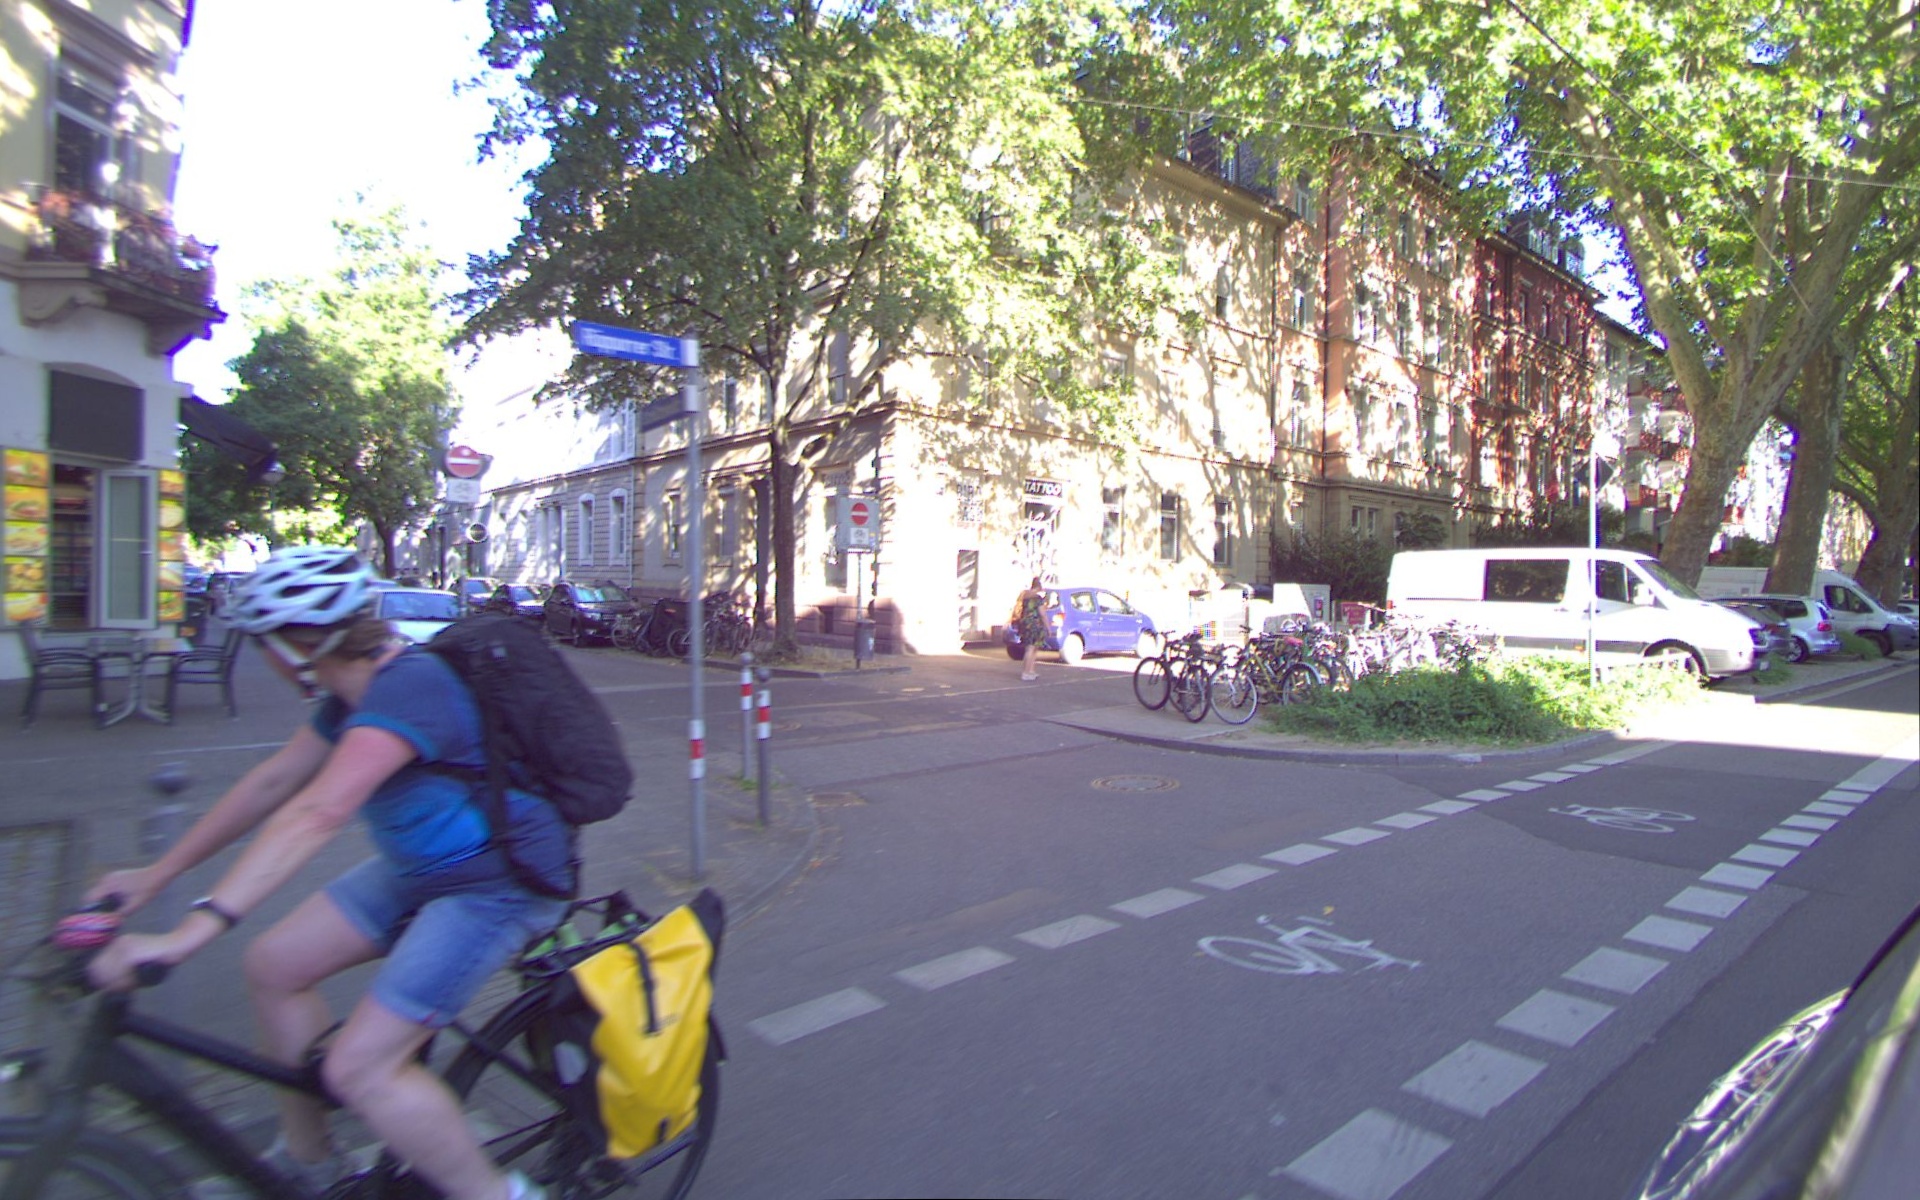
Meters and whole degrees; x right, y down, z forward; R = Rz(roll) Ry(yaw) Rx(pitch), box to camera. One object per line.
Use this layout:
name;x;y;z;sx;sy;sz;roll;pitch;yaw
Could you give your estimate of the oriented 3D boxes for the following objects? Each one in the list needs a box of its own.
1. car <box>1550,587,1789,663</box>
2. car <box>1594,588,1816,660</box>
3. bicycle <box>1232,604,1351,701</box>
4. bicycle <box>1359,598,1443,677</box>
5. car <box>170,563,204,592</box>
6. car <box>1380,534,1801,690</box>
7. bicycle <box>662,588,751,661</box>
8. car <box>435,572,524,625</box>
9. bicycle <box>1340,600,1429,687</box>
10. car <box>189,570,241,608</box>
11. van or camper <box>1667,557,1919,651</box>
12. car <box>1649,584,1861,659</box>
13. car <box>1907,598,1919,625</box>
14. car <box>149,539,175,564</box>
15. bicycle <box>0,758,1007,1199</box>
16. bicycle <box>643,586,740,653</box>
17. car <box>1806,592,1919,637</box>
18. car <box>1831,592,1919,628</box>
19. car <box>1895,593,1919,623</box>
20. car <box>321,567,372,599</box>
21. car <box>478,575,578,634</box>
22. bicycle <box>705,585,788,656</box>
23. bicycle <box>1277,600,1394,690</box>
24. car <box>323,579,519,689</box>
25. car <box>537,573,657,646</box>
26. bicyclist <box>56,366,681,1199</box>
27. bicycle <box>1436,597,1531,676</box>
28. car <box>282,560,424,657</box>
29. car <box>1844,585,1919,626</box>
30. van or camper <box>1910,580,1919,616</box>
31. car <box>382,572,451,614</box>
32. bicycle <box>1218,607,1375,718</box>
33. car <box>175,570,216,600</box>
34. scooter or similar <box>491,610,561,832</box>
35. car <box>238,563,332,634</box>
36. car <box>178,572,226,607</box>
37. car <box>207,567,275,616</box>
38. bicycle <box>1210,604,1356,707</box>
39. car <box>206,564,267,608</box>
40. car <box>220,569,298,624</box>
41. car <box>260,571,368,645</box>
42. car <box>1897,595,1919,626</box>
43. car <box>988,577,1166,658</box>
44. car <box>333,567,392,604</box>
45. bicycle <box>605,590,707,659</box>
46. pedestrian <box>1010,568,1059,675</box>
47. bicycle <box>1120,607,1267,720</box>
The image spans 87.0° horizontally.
car;15.674;0.479;22.529;1.765;1.478;4.061;0;2;-41
car;17.667;0.491;24.129;1.764;1.496;3.963;0;2;-40
bicycle;4.551;0.676;14.061;0.404;1.193;2.053;0;1;-19
bicycle;7.352;0.592;16.977;0.405;1.193;2.050;0;1;-3
car;-51.658;-1.510;67.583;1.625;1.799;3.415;3;-1;-39
car;10.820;0.113;17.945;1.969;2.311;6.007;1;1;-38
bicycle;-4.997;0.456;20.050;0.503;1.301;1.888;0;3;31
car;-15.730;-0.109;33.034;1.820;1.549;3.998;-3;3;-37
bicycle;6.484;0.624;15.563;0.405;1.193;2.050;0;1;-3
car;-31.630;-0.464;42.940;1.624;1.509;3.416;3;-1;-39
van or camper;24.724;0.013;29.797;2.070;2.522;6.045;0;2;-40
car;19.875;0.461;25.425;1.766;1.676;3.960;-1;2;-43
car;57.273;0.685;58.507;1.649;1.550;3.568;0;1;-42
car;-62.798;-3.798;79.598;1.475;1.799;3.415;3;-1;-39
bicycle;-1.018;0.981;2.002;2.467;1.017;0.596;0;-2;-41
bicycle;-5.830;0.402;22.080;1.973;1.333;0.522;-3;2;-41
car;33.854;0.516;37.228;1.658;1.498;3.962;0;2;-40
car;40.802;0.422;44.474;1.632;1.514;3.615;0;1;-41
car;51.372;0.466;52.330;1.877;1.500;4.207;0;2;-39
car;-32.056;-0.935;52.839;1.820;1.549;3.868;-3;3;-37
car;-12.526;0.074;29.221;1.819;1.485;4.000;-3;3;-35
bicycle;-4.197;0.371;20.032;0.503;1.271;1.890;0;3;28
bicycle;5.519;0.617;15.005;0.404;1.193;2.053;0;1;-19
car;-8.206;0.443;15.269;1.663;1.429;3.680;3;-1;-43
car;-9.290;0.163;25.701;1.819;1.617;4.000;-3;3;-35
bicyclist;-1.123;0.460;1.969;0.919;1.573;0.615;0;-4;-40
bicycle;8.646;0.567;16.800;0.405;1.193;2.050;0;1;-3
car;-11.469;0.134;19.021;1.661;1.637;3.683;3;-1;-40
car;42.800;0.259;45.781;1.773;1.766;4.002;0;1;-40
van or camper;59.376;-0.079;59.964;1.808;2.136;4.381;0;2;-43
car;-22.205;-0.331;41.281;1.820;1.549;3.998;-3;3;-37
bicycle;4.036;0.710;12.314;0.405;1.193;2.050;-1;1;-31
car;-41.534;-0.802;54.975;1.624;1.509;3.416;3;-1;-39
scooter or similar;-2.866;0.722;6.643;0.334;1.271;1.313;0;1;-26
car;-17.535;-0.064;26.197;1.624;1.679;4.141;3;-1;-39
car;-35.119;-0.515;46.890;1.624;1.509;3.416;3;-1;-39
car;-23.986;-0.290;33.724;1.624;1.509;3.416;3;-1;-39
bicycle;4.119;0.666;13.079;0.405;1.193;2.050;-1;1;-31
car;-27.013;-0.519;37.727;1.624;1.509;3.416;3;-1;-39
car;-20.844;-0.118;30.028;1.624;1.509;3.416;3;-1;-39
car;-14.422;0.148;22.520;1.624;1.509;3.416;3;-1;-39
car;49.336;0.611;50.407;3.827;1.462;1.673;3;0;44
car;2.399;0.315;20.277;3.511;1.474;1.734;0;0;-44
car;-27.328;-0.714;46.260;1.820;1.549;3.868;-3;3;-37
bicycle;-6.161;0.471;20.607;0.506;1.301;2.013;1;2;44
pedestrian;1.204;0.324;16.297;0.587;1.672;0.703;0;1;24
bicycle;2.754;0.711;12.166;0.405;1.193;2.050;-1;1;-31
